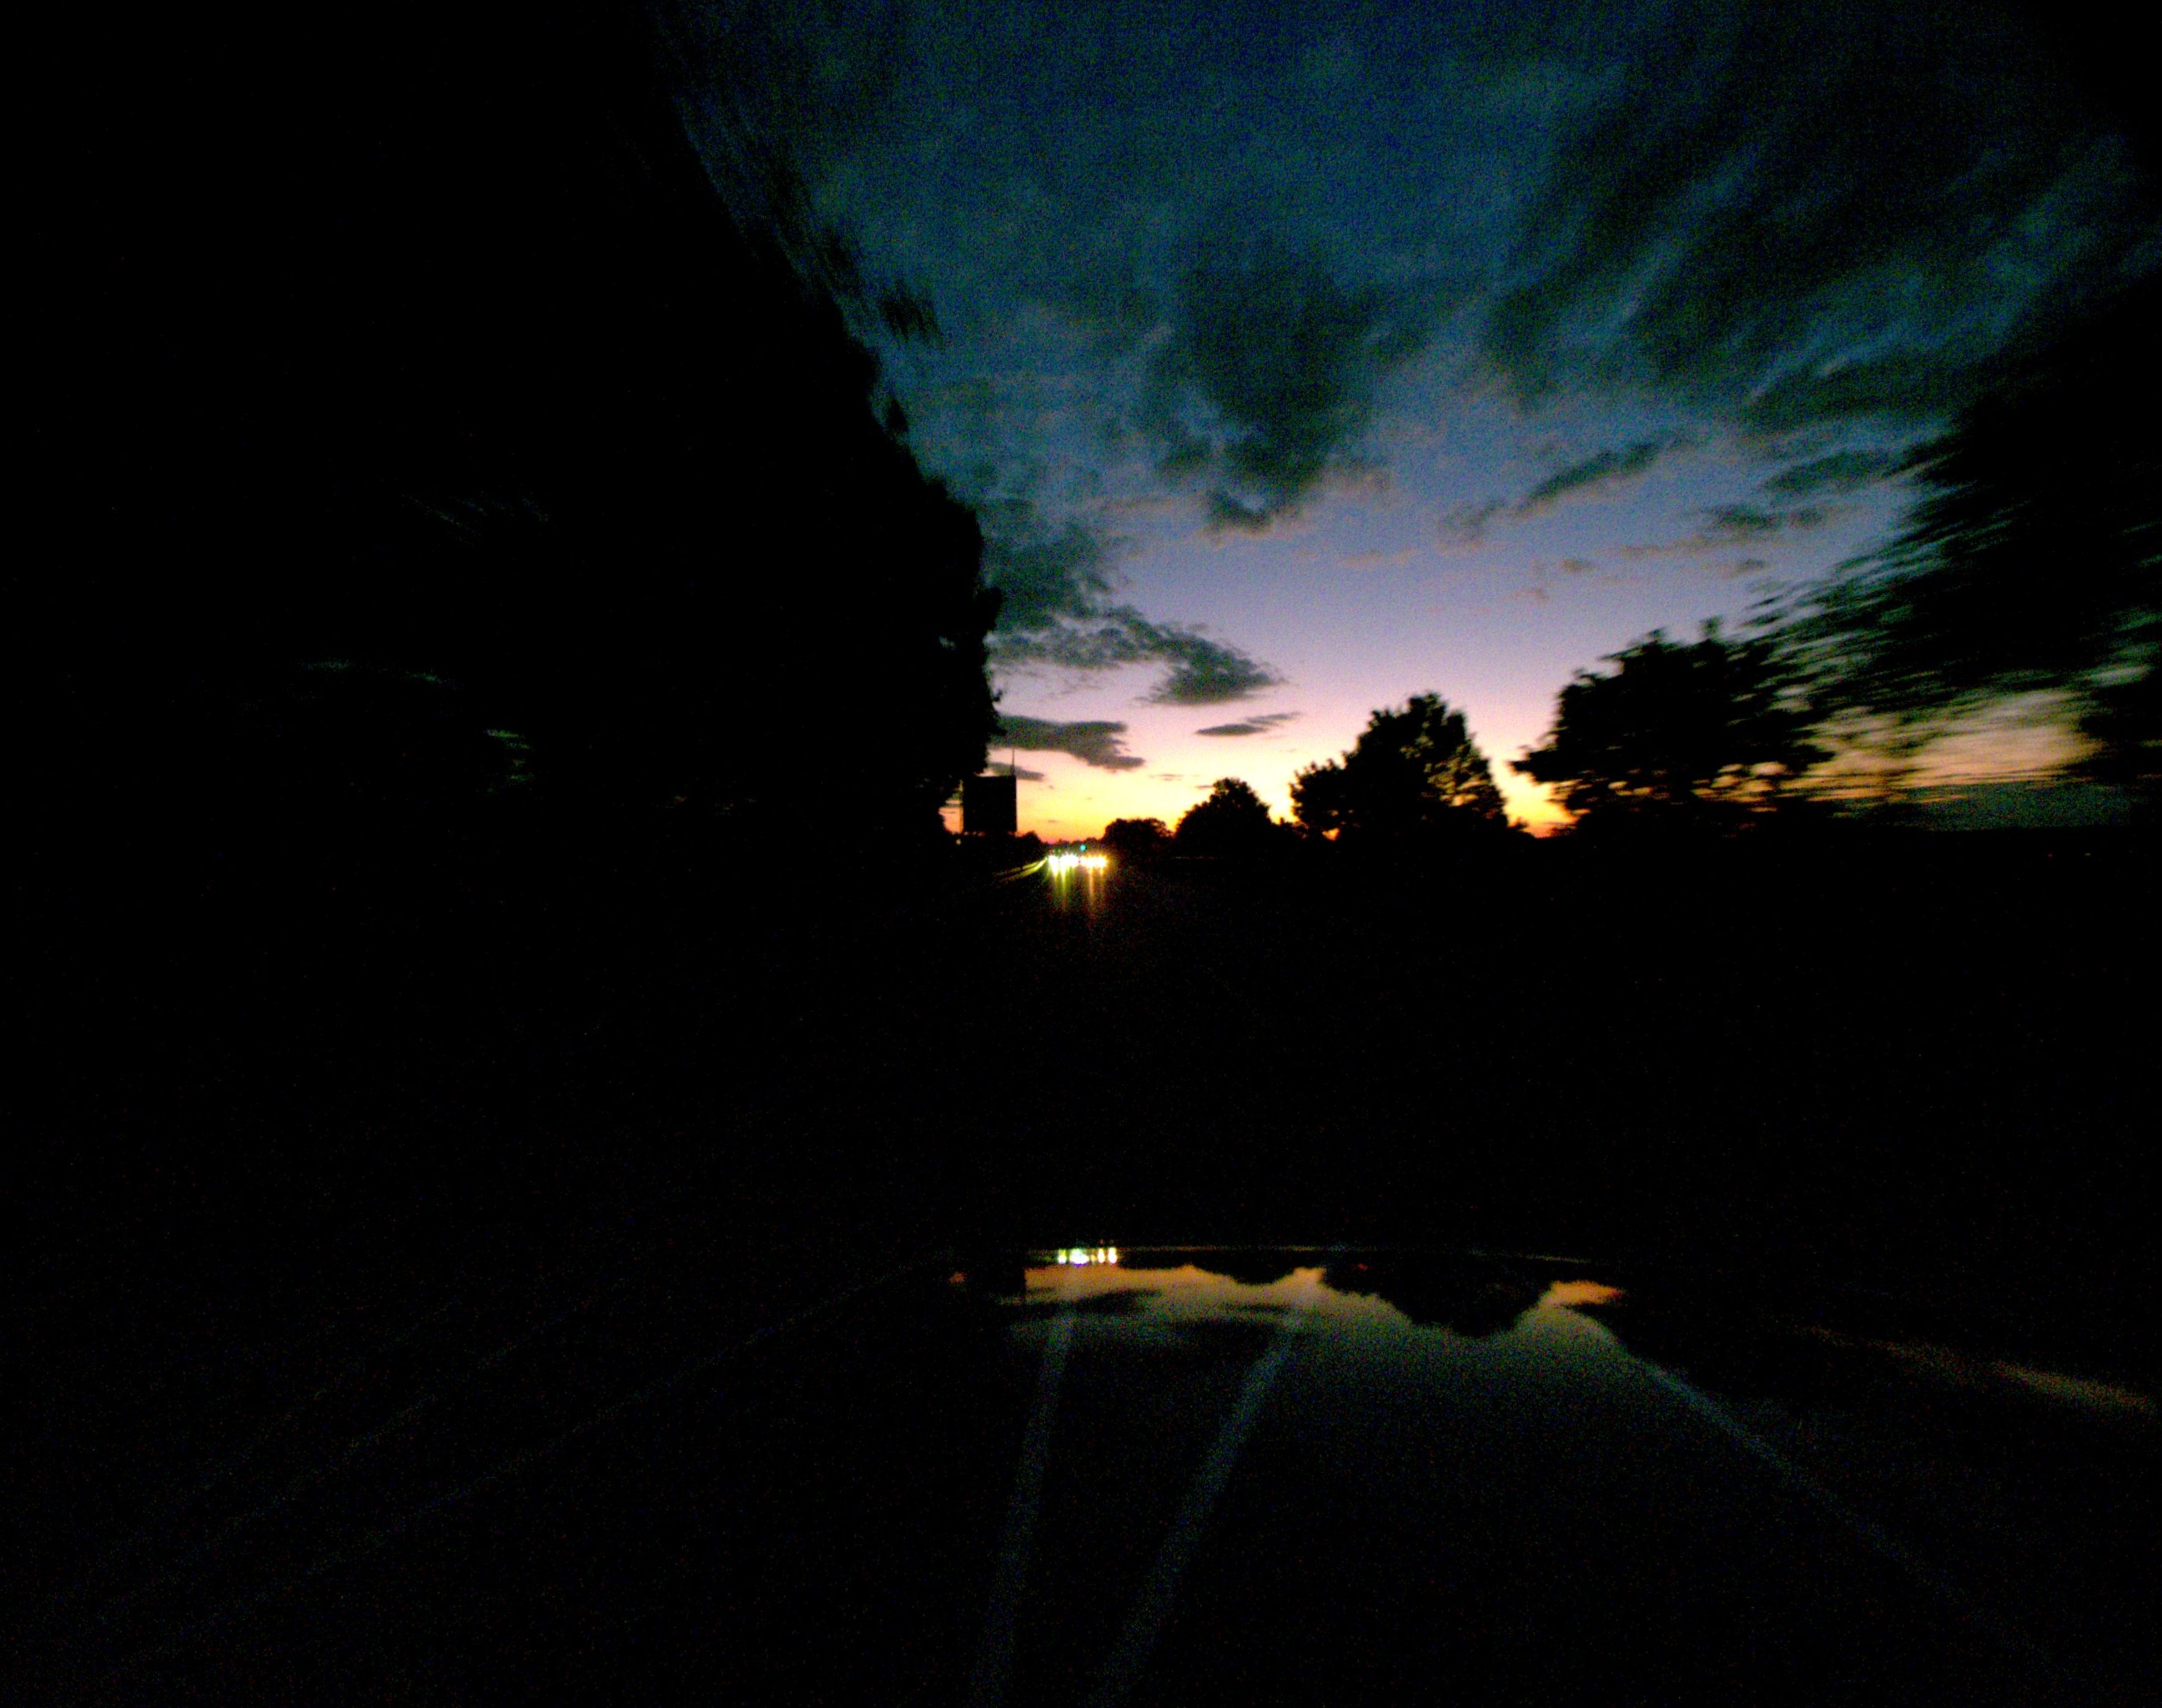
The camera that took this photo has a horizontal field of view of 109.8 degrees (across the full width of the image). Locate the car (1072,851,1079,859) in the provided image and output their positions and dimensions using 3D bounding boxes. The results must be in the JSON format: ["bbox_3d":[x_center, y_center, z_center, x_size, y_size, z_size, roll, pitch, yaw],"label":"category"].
[{"bbox_3d":[-1.519,0.320,207.229,1.999,2.002,3.999,-2,1,-1],"label":"car"}]

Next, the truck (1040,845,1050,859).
[{"bbox_3d":[-10.330,-0.631,216.586,2.491,3.778,5.497,-2,1,-1],"label":"truck"}]

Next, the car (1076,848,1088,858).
[{"bbox_3d":[0.172,-0.177,141.690,1.999,1.778,3.999,-2,1,-2],"label":"car"}]

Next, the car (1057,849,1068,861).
[{"bbox_3d":[-3.324,0.234,136.268,1.741,2.002,3.999,-2,0,-2],"label":"car"}]

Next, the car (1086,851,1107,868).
[{"bbox_3d":[1.592,0.571,79.611,1.999,1.635,4.296,-2,1,-2],"label":"car"}]

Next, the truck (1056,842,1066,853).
[{"bbox_3d":[-6.816,-2.298,261.413,3.016,3.674,9.057,-2,1,-1],"label":"truck"}]

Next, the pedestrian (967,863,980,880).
[{"bbox_3d":[-10.783,1.742,76.182,1.065,1.633,1.118,-2,1,-2],"label":"pedestrian"}]
